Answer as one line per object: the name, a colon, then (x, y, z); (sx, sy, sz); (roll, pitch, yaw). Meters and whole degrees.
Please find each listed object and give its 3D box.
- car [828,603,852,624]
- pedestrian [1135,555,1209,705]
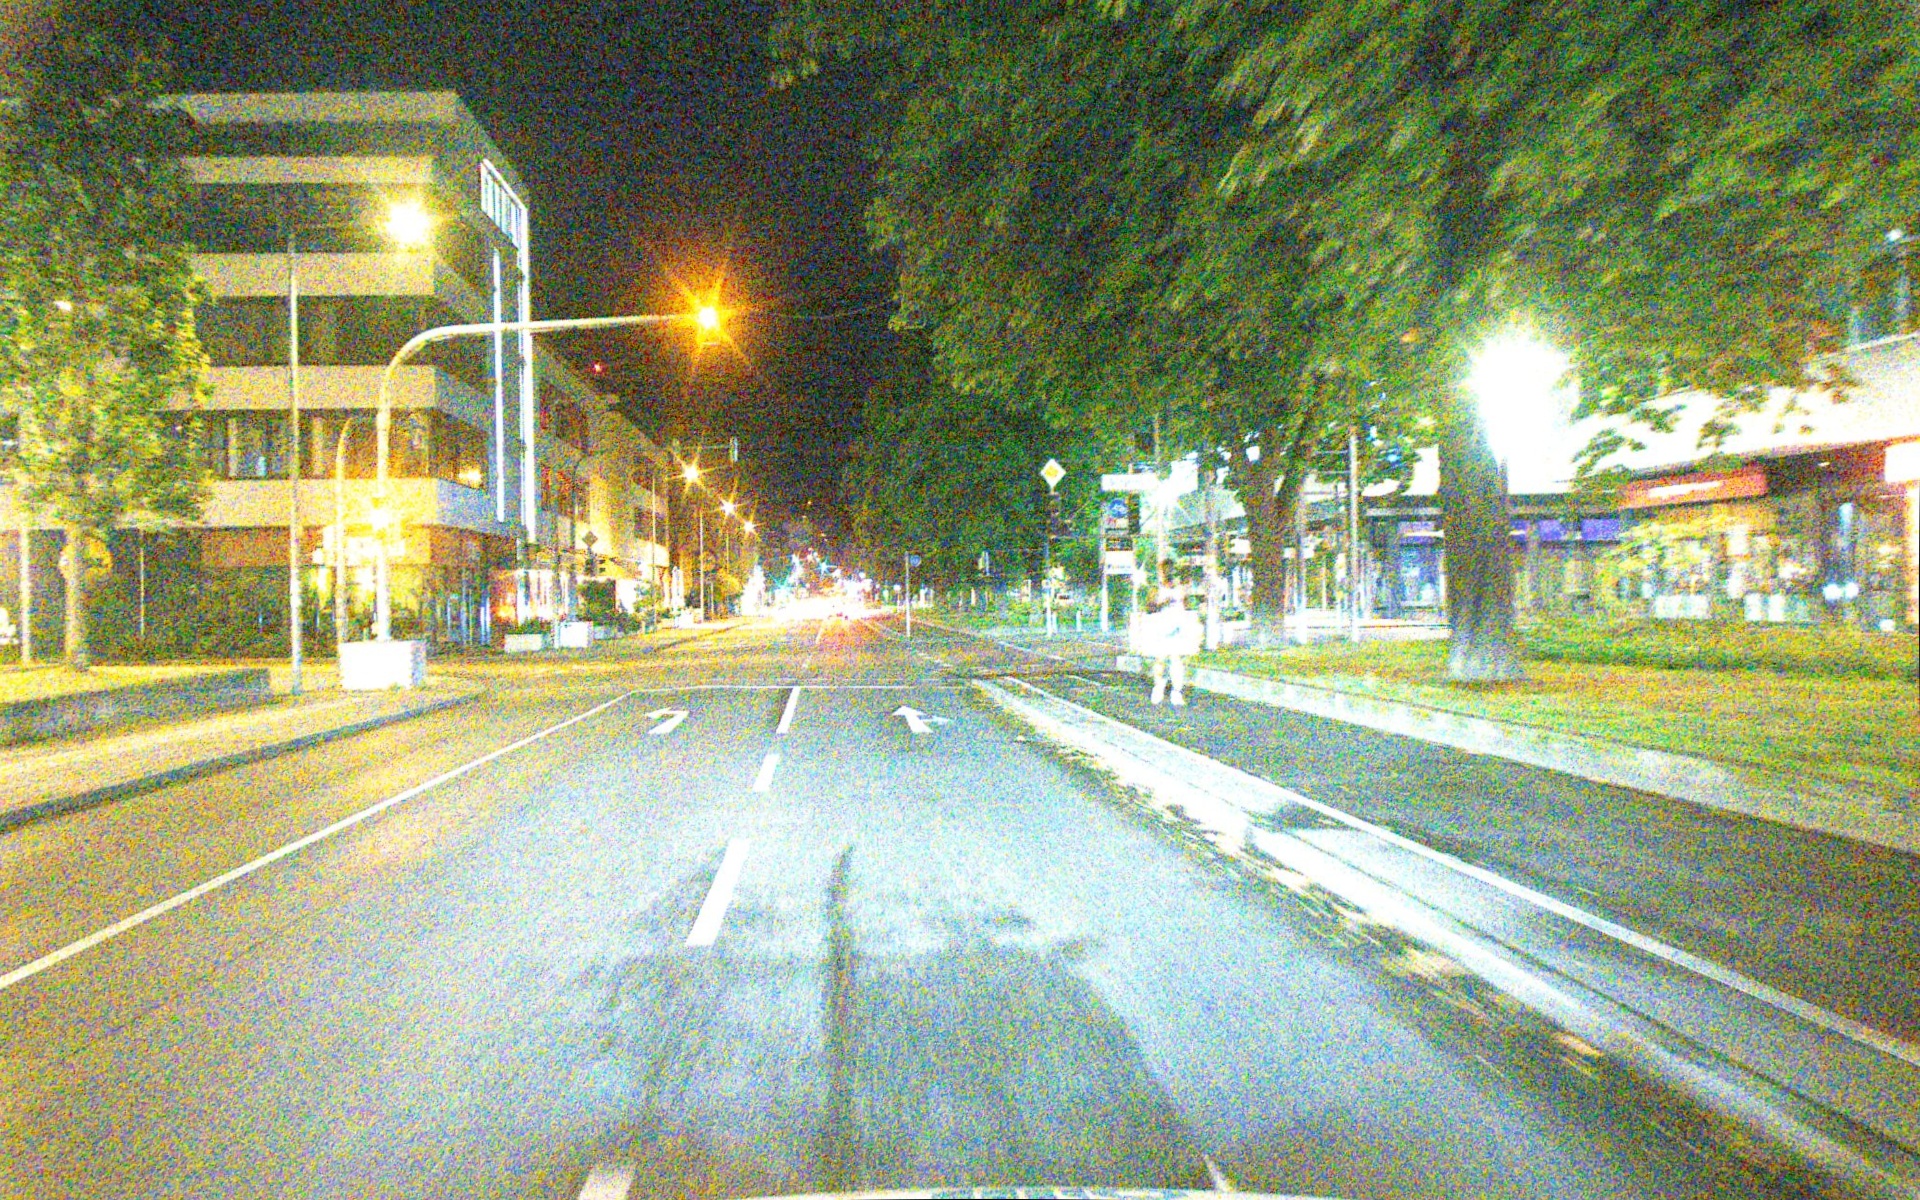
car: (-10.295, 1.137, 141.294); (1.955, 1.672, 3.996); (-2, 0, -5)
pedestrian: (2.697, 0.375, 21.145); (0.689, 1.850, 1.081); (-2, 0, -4)
